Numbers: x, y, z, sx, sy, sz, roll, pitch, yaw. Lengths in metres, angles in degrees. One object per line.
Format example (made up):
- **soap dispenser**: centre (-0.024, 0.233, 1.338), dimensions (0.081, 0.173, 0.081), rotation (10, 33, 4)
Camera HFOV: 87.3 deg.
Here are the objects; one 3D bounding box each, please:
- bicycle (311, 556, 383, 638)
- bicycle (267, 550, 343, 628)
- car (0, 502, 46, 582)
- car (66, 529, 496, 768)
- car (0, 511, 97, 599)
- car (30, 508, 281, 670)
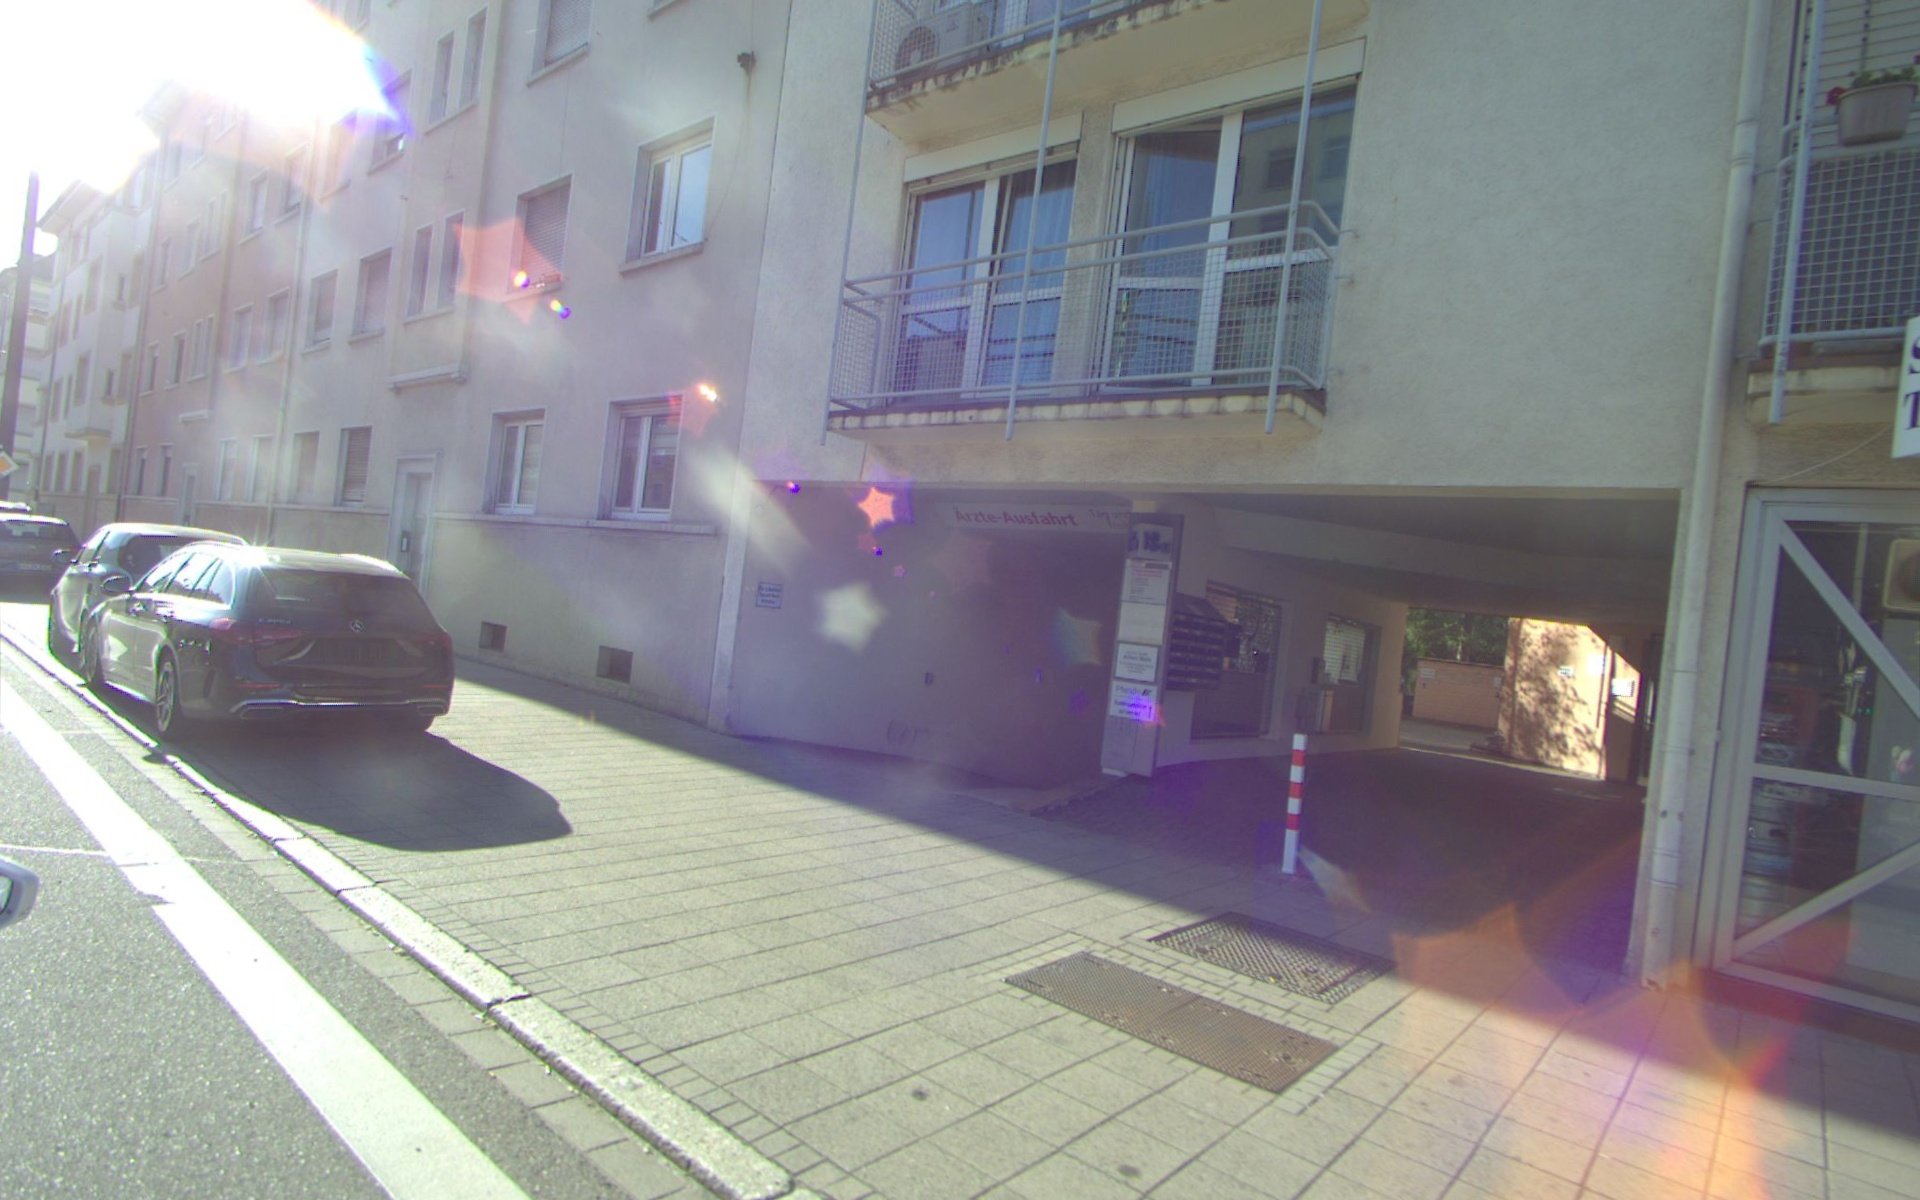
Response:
- **bicycle**: centre (-10.314, -0.066, 16.912), dimensions (1.535, 1.207, 0.513), rotation (7, 1, 42)
- **bicycle**: centre (-11.800, -0.213, 18.088), dimensions (1.856, 1.208, 0.628), rotation (7, 2, 42)
- **car**: centre (-22.522, -1.446, 23.038), dimensions (4.122, 1.665, 1.659), rotation (6, 2, 38)
- **car**: centre (-6.076, 0.259, 8.746), dimensions (4.674, 1.416, 1.880), rotation (6, 1, 40)
- **car**: centre (-18.635, -0.966, 19.863), dimensions (4.035, 1.490, 1.769), rotation (6, 1, 40)
- **car**: centre (-9.146, -0.148, 11.387), dimensions (2.945, 1.545, 1.550), rotation (5, 0, 39)
